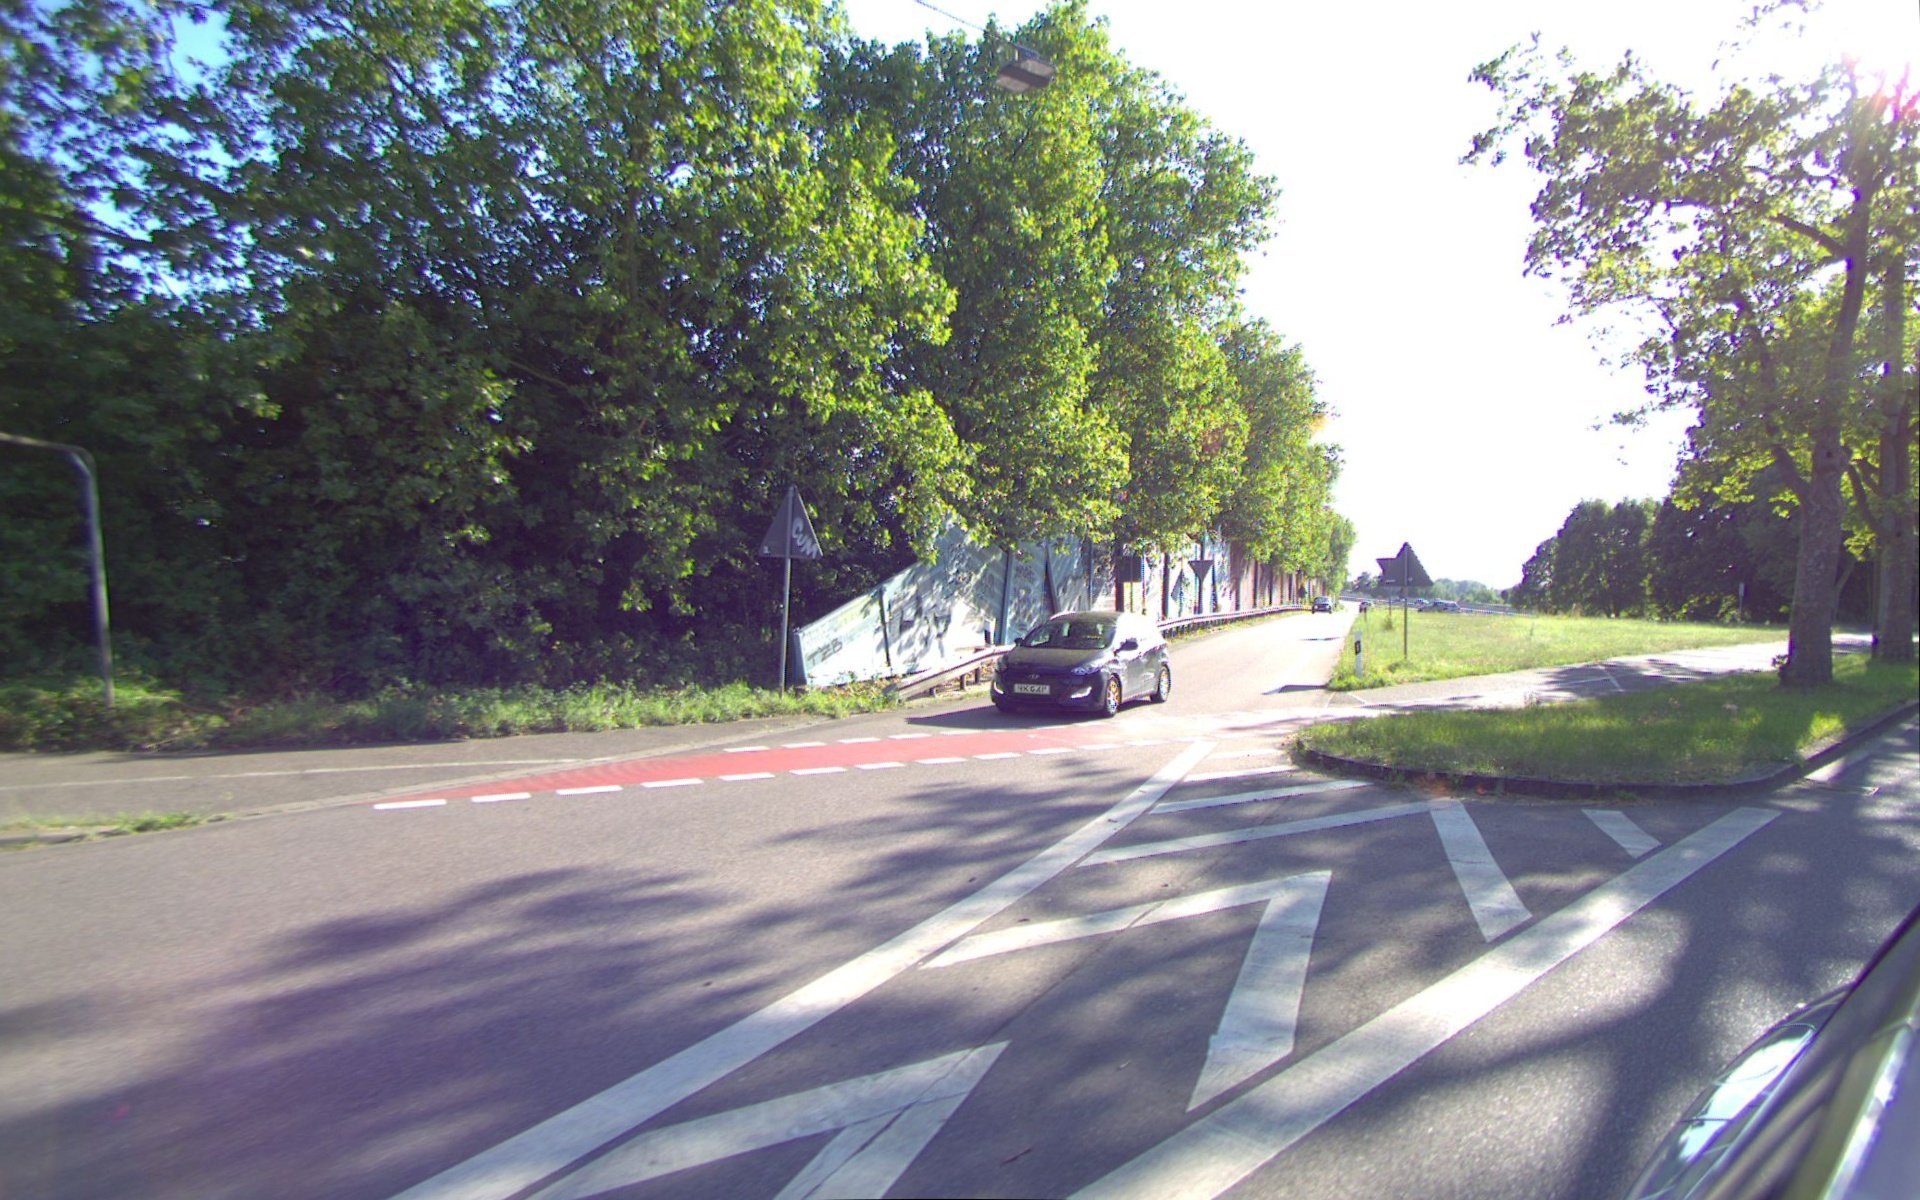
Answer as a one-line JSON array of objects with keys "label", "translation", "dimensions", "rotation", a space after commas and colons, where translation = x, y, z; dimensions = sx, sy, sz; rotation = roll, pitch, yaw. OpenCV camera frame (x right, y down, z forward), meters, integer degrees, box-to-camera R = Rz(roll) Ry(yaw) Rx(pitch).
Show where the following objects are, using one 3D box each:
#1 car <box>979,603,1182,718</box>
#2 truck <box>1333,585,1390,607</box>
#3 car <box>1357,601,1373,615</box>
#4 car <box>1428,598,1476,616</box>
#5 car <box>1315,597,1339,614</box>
[{"label": "car", "translation": [2.002, 0.807, 15.603], "dimensions": [1.781, 1.458, 4.183], "rotation": [0, 0, 27]}, {"label": "truck", "translation": [82.256, -0.842, 207.423], "dimensions": [10.486, 3.537, 2.633], "rotation": [5, 3, 21]}, {"label": "car", "translation": [53.614, 0.996, 133.848], "dimensions": [1.796, 1.795, 3.829], "rotation": [0, 0, 25]}, {"label": "car", "translation": [41.170, 0.541, 84.756], "dimensions": [1.660, 1.435, 4.140], "rotation": [0, 0, -7]}, {"label": "car", "translation": [32.275, 0.473, 88.965], "dimensions": [1.779, 1.458, 4.190], "rotation": [0, 0, 23]}]
